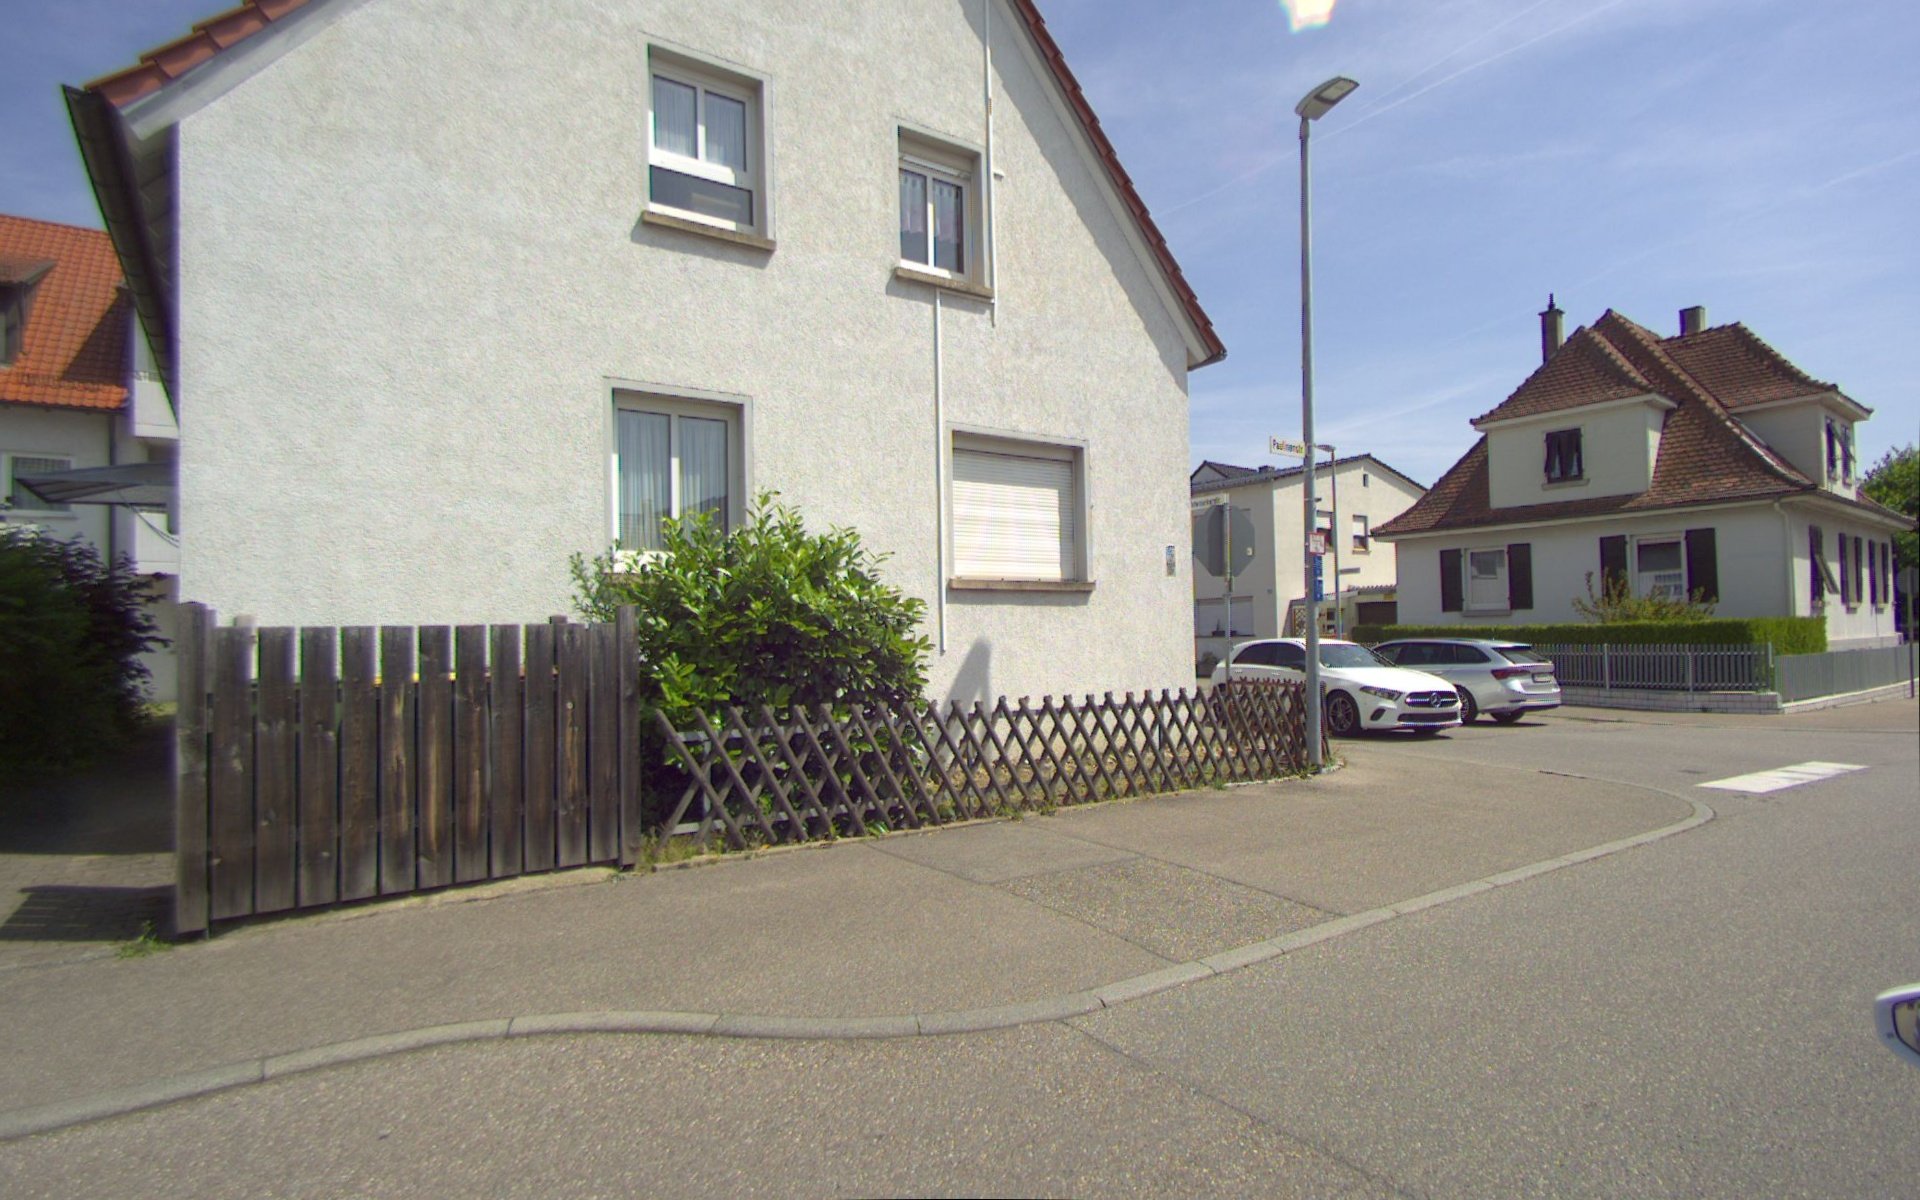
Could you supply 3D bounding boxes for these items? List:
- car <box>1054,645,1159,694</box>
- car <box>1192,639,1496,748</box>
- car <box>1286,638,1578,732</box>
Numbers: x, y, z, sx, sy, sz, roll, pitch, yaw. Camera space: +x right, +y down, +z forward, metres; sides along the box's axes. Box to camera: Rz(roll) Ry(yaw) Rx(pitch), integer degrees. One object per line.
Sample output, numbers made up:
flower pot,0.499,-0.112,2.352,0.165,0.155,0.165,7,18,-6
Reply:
car,4.742,2.226,32.982,1.750,1.511,3.756,0,-2,-23
car,5.731,1.337,15.679,1.901,1.416,4.472,0,-2,-22
car,8.277,1.440,18.086,1.739,1.456,4.549,1,-3,-32
